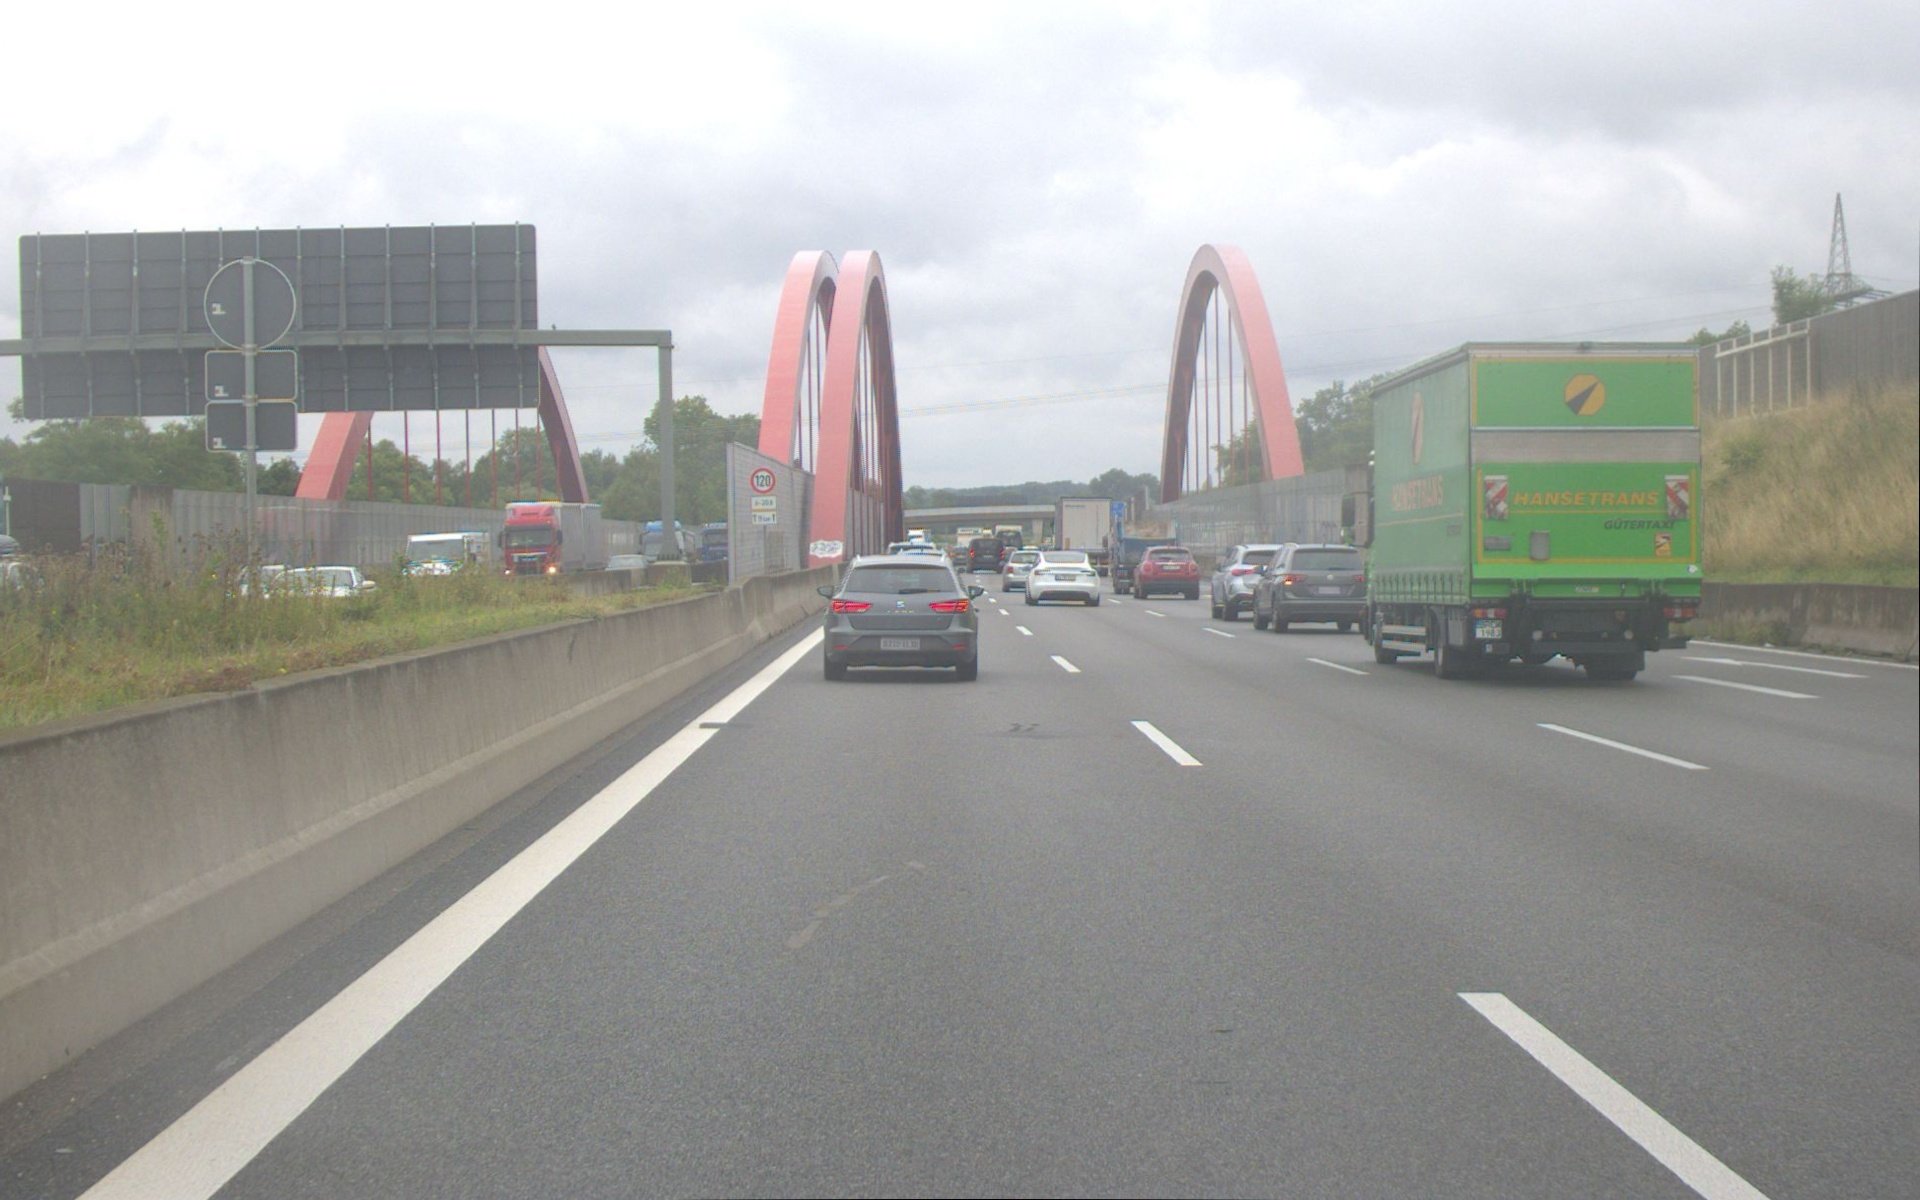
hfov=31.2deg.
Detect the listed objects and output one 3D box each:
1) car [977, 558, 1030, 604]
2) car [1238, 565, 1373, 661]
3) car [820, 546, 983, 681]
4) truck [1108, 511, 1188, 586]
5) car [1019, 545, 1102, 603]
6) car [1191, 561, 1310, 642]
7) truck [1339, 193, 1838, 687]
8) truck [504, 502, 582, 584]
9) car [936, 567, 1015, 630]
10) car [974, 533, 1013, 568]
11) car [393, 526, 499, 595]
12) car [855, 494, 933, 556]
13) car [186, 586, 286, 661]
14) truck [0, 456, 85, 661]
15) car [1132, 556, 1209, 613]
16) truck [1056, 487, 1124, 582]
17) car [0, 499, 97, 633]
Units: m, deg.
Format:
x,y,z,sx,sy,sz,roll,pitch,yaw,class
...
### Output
x,y,z,sx,sy,sz,roll,pitch,yaw,class
1.491,-0.676,119.593,1.702,1.538,3.839,0,1,-1,car
6.306,0.209,63.140,1.911,1.664,4.104,0,1,-2,car
-0.640,0.112,39.456,1.764,1.448,4.000,1,1,0,car
6.427,-1.786,118.086,2.361,2.498,6.144,1,1,0,truck
2.612,-0.700,90.437,1.993,1.481,4.000,0,1,-1,car
6.213,0.004,74.045,1.993,1.613,5.328,1,1,-1,car
7.382,-1.800,42.619,3.997,5.248,11.220,1,1,0,truck
-19.485,-2.660,160.962,2.984,3.740,5.917,0,1,-1,truck
0.348,-0.048,80.756,1.781,1.401,3.626,0,1,-1,car
1.734,-2.599,180.445,1.993,1.809,4.000,0,1,0,car
-15.621,-1.233,104.894,2.214,2.007,7.059,0,1,0,car
-1.755,-1.982,90.774,1.993,1.579,4.000,-1,1,-1,car
-20.044,0.632,95.320,1.993,1.974,4.000,0,1,-1,car
-19.362,-0.837,66.856,2.862,3.825,7.523,1,1,-1,truck
6.319,-0.493,103.493,1.957,1.641,4.000,1,1,-1,car
6.616,-3.332,175.638,3.044,4.718,7.680,1,1,0,truck
-15.268,-0.560,54.153,1.993,2.007,5.619,0,1,-1,car
